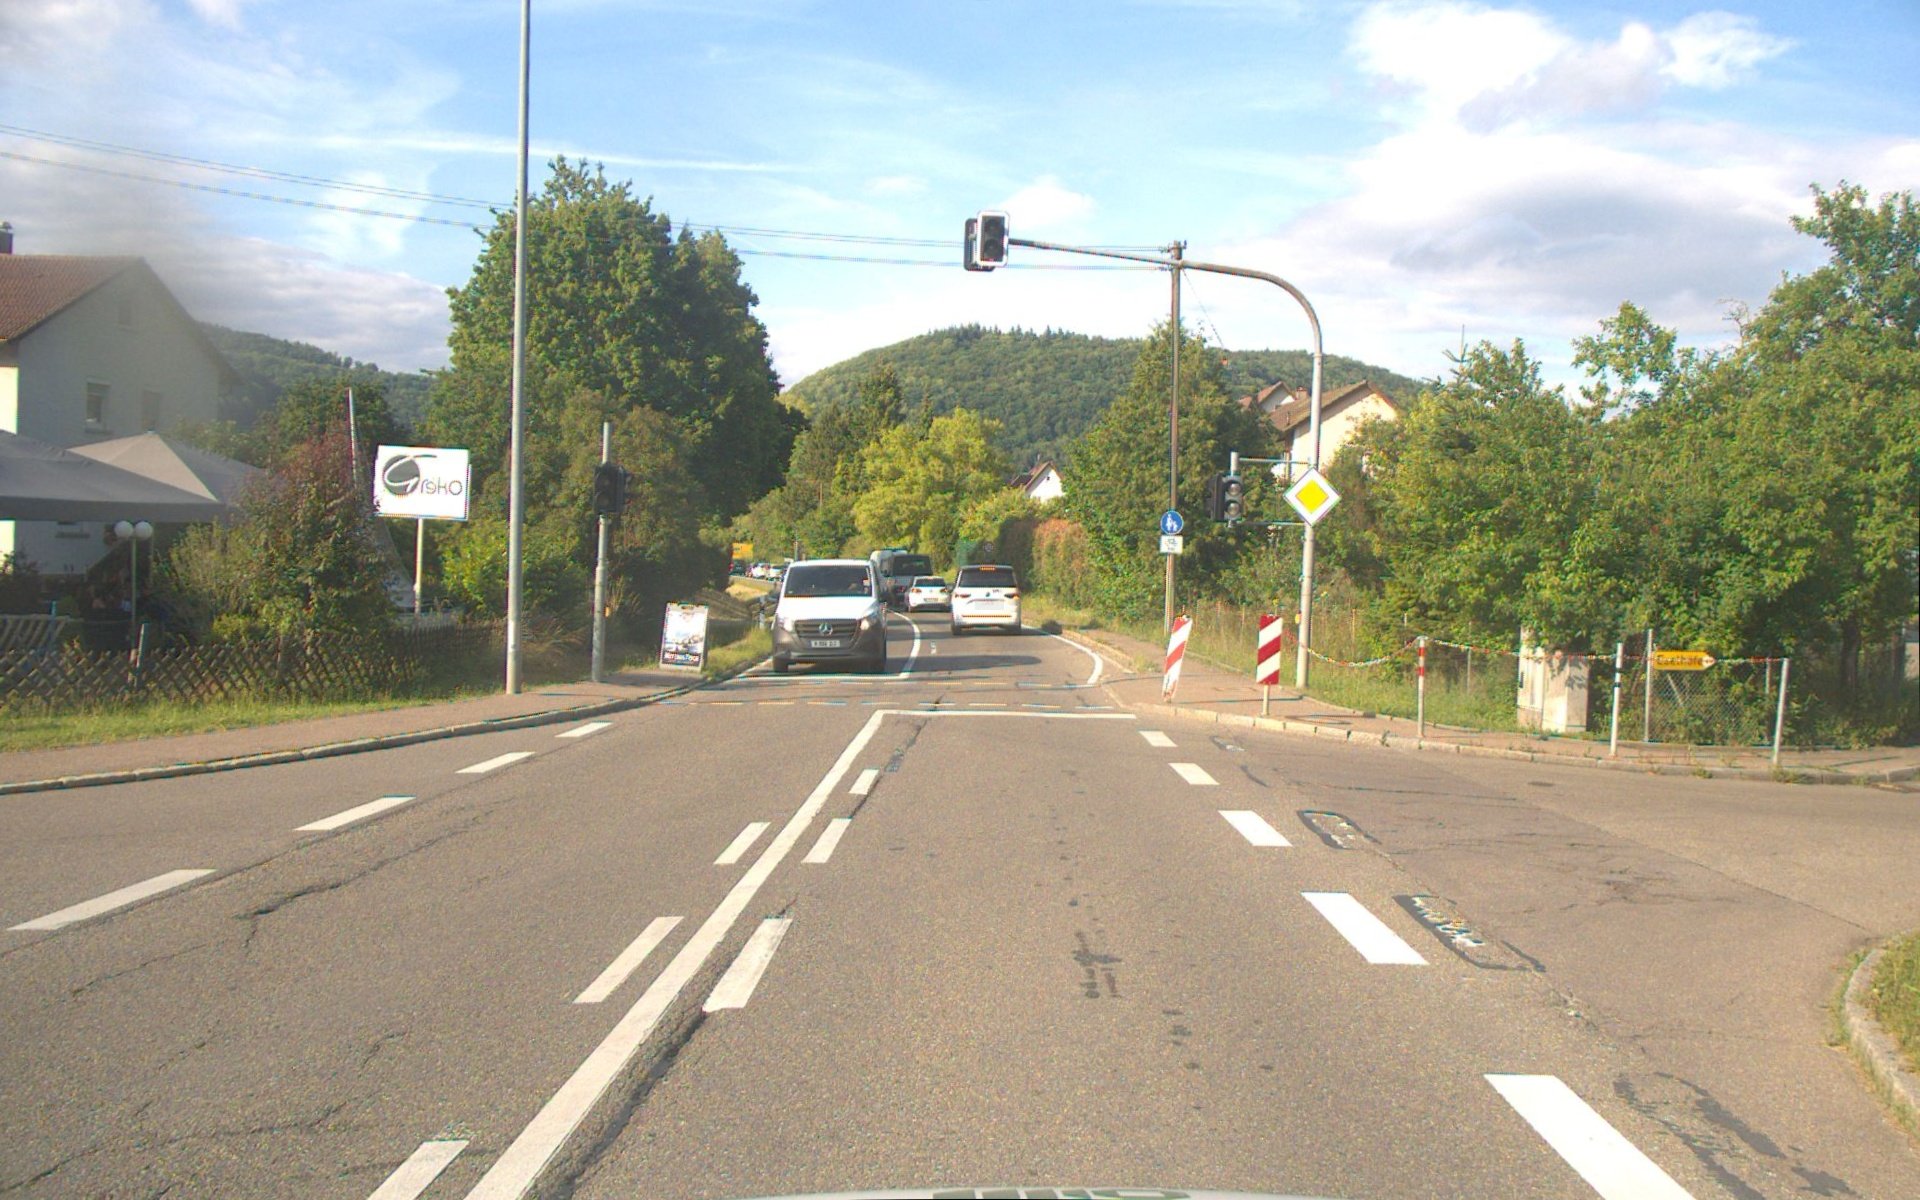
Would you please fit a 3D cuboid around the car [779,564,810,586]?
[{"bbox_3d":[-14.097,-2.133,140.561,2.007,1.713,3.984,1,2,-15],"label":"car"}]

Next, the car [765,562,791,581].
[{"bbox_3d":[-16.418,-2.548,149.138,1.908,1.713,3.988,0,1,-12],"label":"car"}]

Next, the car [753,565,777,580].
[{"bbox_3d":[-18.658,-2.627,158.186,1.908,1.449,3.988,0,1,-12],"label":"car"}]

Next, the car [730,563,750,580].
[{"bbox_3d":[-23.672,-3.051,177.904,1.741,1.814,3.988,0,1,-13],"label":"car"}]

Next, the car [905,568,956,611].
[{"bbox_3d":[-1.262,-0.463,68.610,1.954,1.713,3.998,0,1,-3],"label":"car"}]

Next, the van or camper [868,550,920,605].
[{"bbox_3d":[-3.729,-1.281,92.144,2.369,2.955,6.121,0,1,-8],"label":"van or camper"}]

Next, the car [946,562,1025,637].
[{"bbox_3d":[0.669,-0.065,46.950,1.953,1.909,4.870,3,2,-2],"label":"car"}]

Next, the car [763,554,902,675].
[{"bbox_3d":[-2.154,0.181,29.340,1.952,1.937,5.254,-1,1,1],"label":"car"}]

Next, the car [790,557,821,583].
[{"bbox_3d":[-12.336,-2.389,131.937,1.959,2.048,3.988,0,1,-12],"label":"car"}]

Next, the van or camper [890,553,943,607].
[{"bbox_3d":[-2.086,-0.954,77.314,2.137,2.426,5.364,0,1,-5],"label":"van or camper"}]
